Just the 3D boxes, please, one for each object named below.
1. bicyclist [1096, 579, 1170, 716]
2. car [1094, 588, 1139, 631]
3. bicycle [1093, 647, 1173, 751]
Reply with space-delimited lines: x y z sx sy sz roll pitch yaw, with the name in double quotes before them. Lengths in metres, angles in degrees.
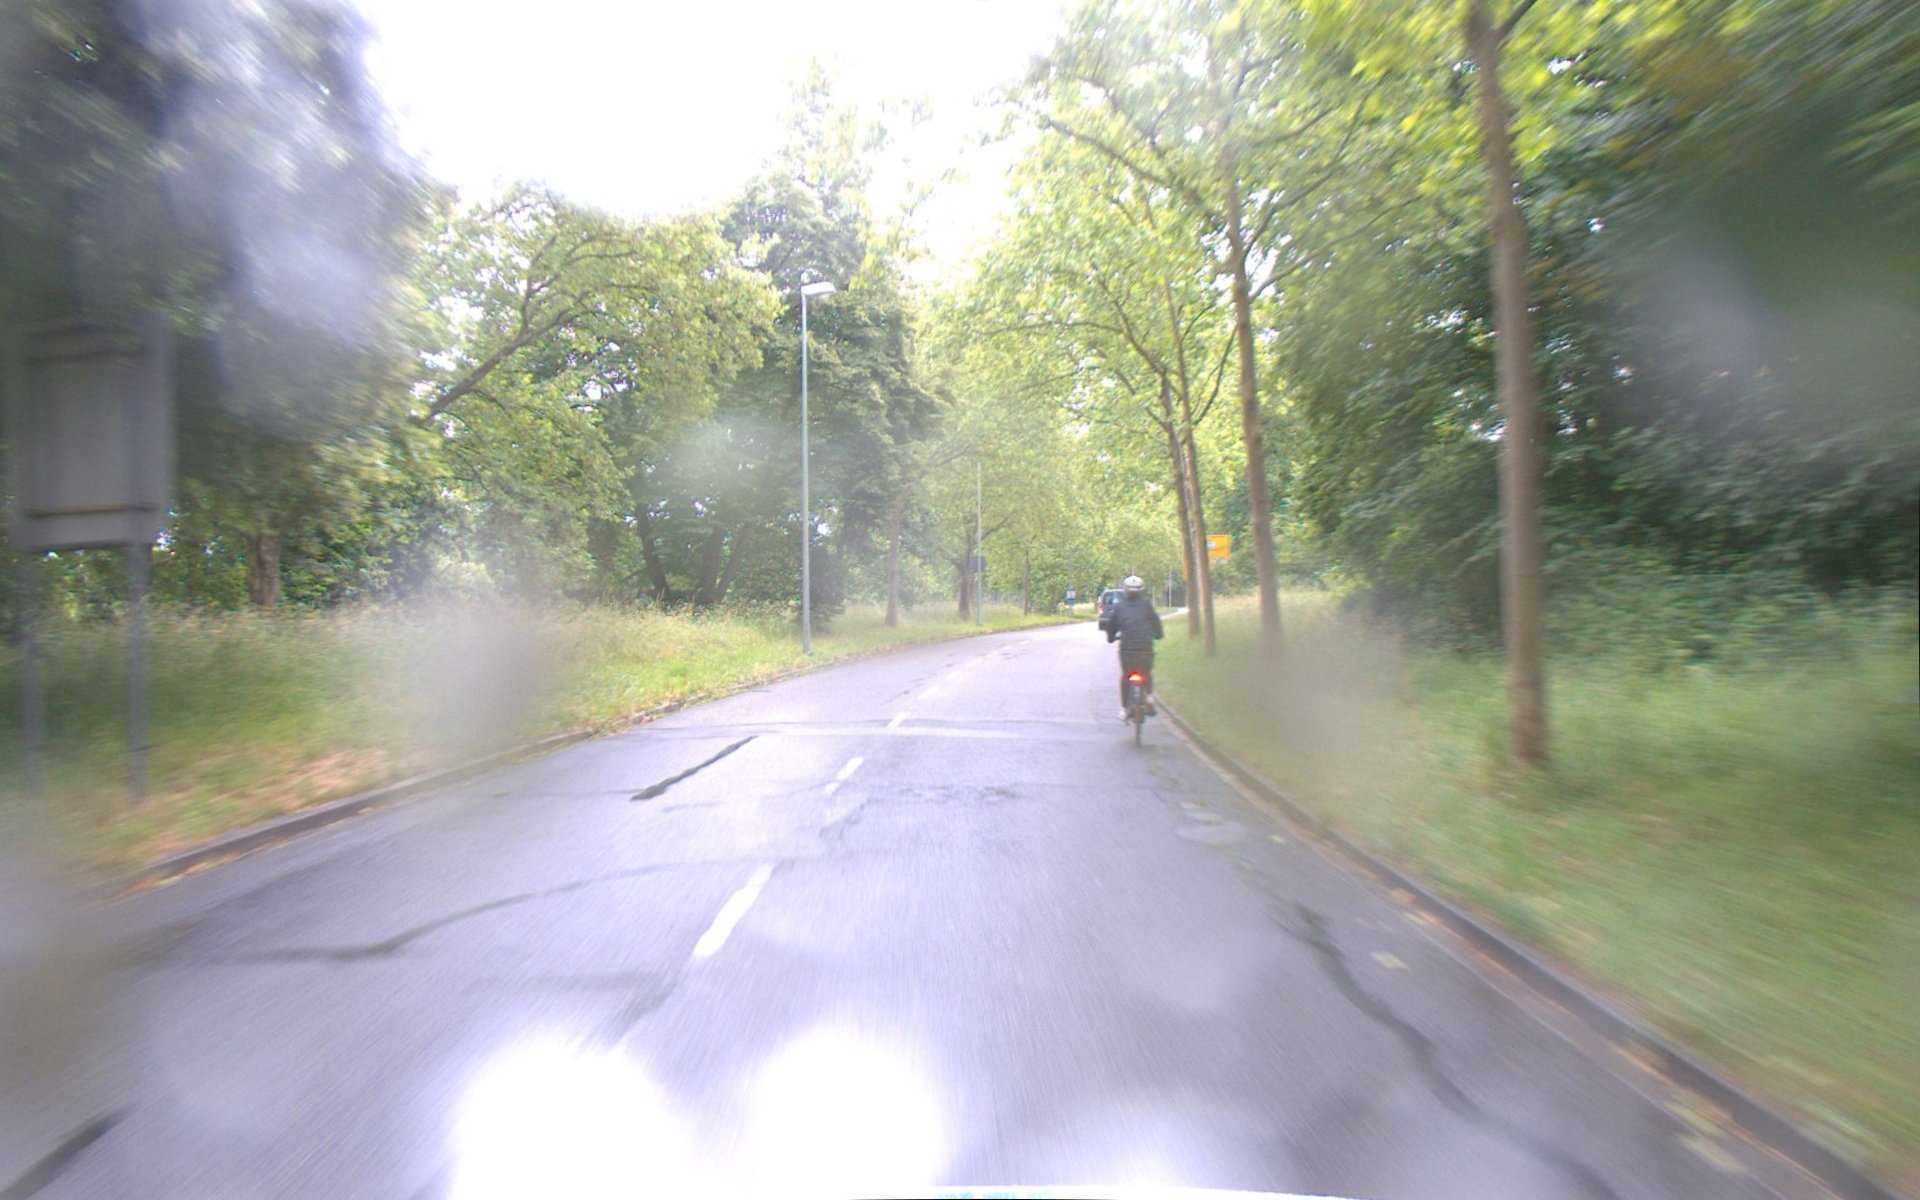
"bicyclist" 1.871 0.496 17.977 0.714 1.435 0.973 1 0 2
"car" 7.415 0.433 78.153 1.943 1.959 4.003 0 0 8
"bicycle" 1.869 1.048 18.129 0.714 0.991 2.173 1 0 2
